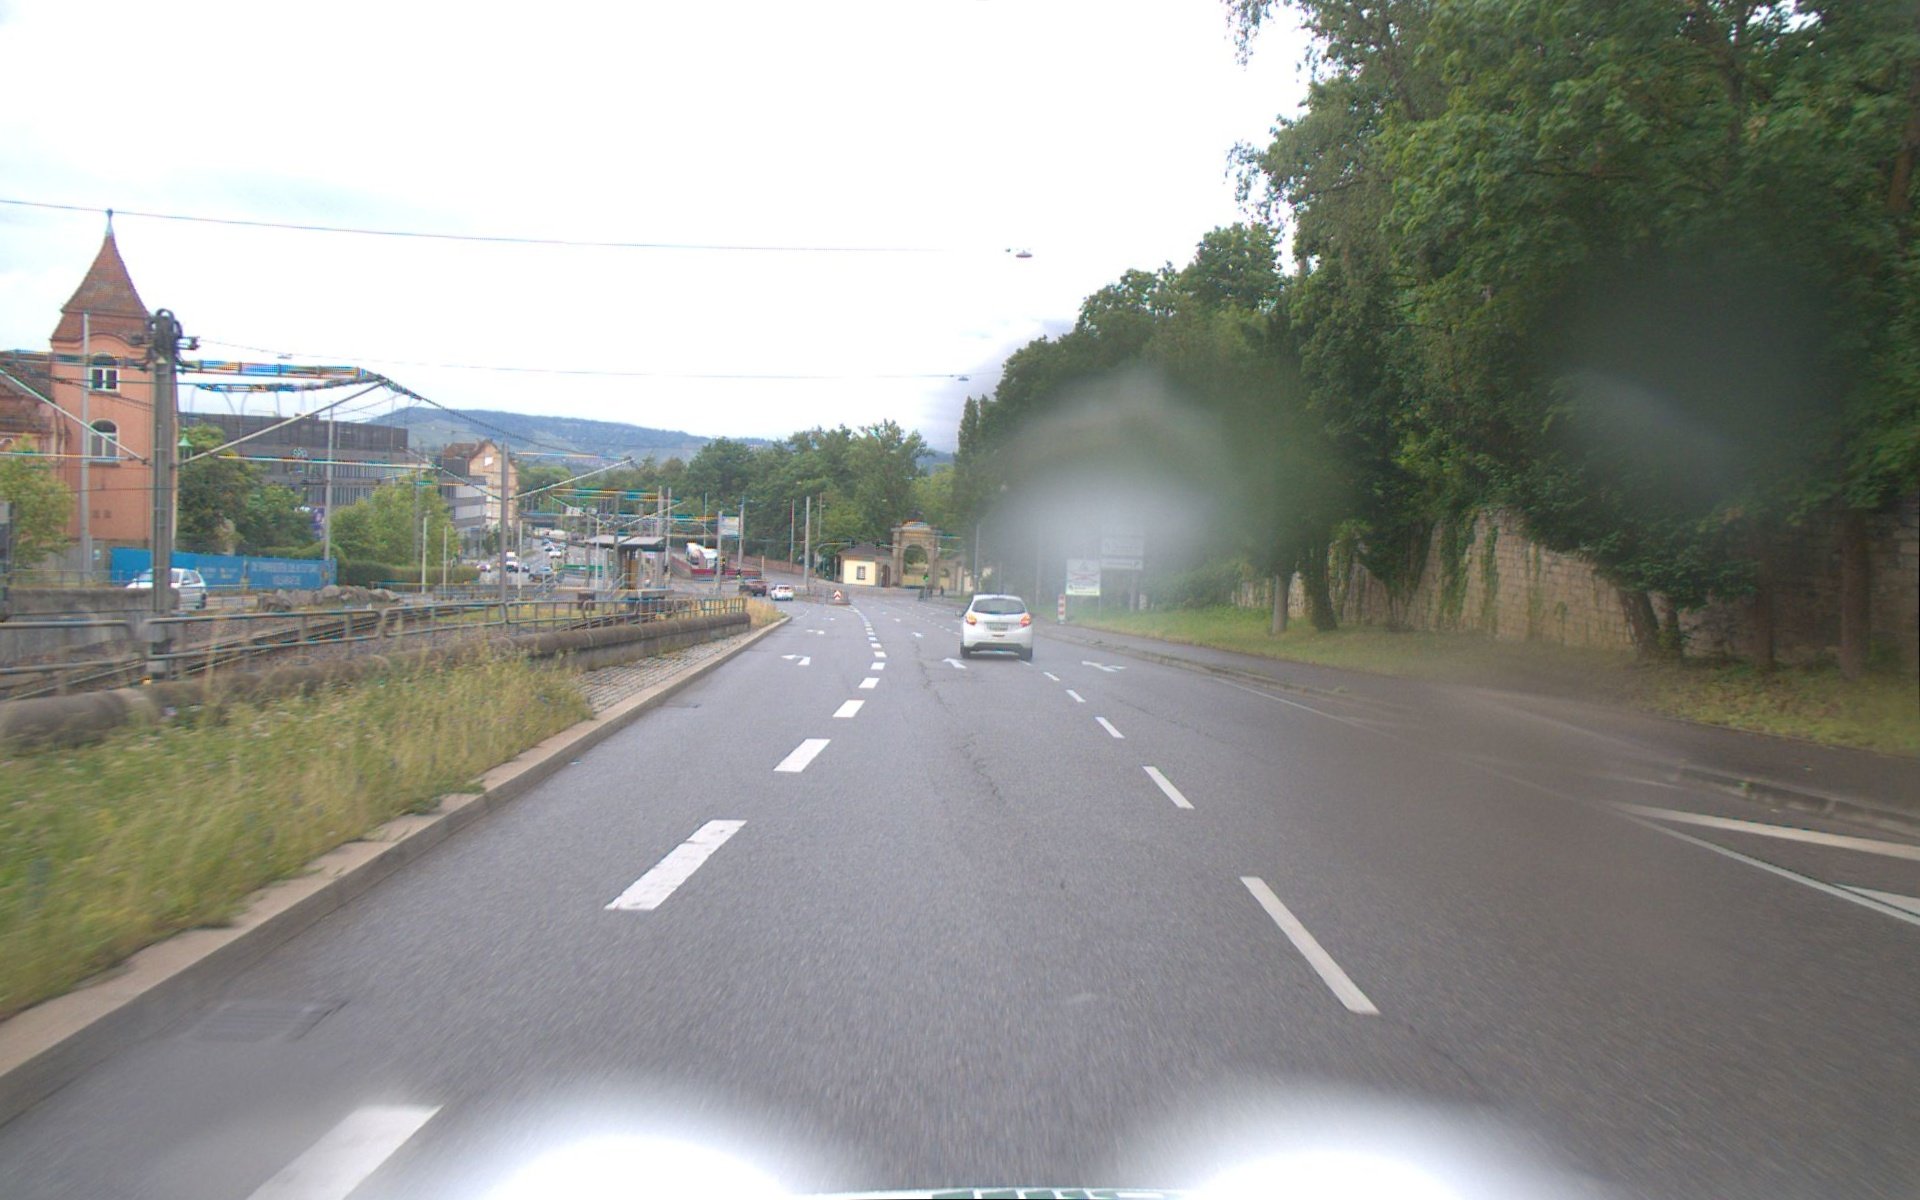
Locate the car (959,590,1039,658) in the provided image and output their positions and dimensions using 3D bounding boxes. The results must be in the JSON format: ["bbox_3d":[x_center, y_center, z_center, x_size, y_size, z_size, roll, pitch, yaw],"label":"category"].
[{"bbox_3d":[0.912,0.551,39.505,1.830,1.537,3.900,0,0,1],"label":"car"}]

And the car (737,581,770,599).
[{"bbox_3d":[-21.245,-1.077,170.033,1.971,1.735,3.963,1,1,-29],"label":"car"}]

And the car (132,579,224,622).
[{"bbox_3d":[-26.296,-0.008,55.713,1.524,1.314,3.557,2,1,-3],"label":"car"}]

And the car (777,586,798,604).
[{"bbox_3d":[-16.624,-0.482,159.251,1.786,1.634,3.998,-1,1,-3],"label":"car"}]
